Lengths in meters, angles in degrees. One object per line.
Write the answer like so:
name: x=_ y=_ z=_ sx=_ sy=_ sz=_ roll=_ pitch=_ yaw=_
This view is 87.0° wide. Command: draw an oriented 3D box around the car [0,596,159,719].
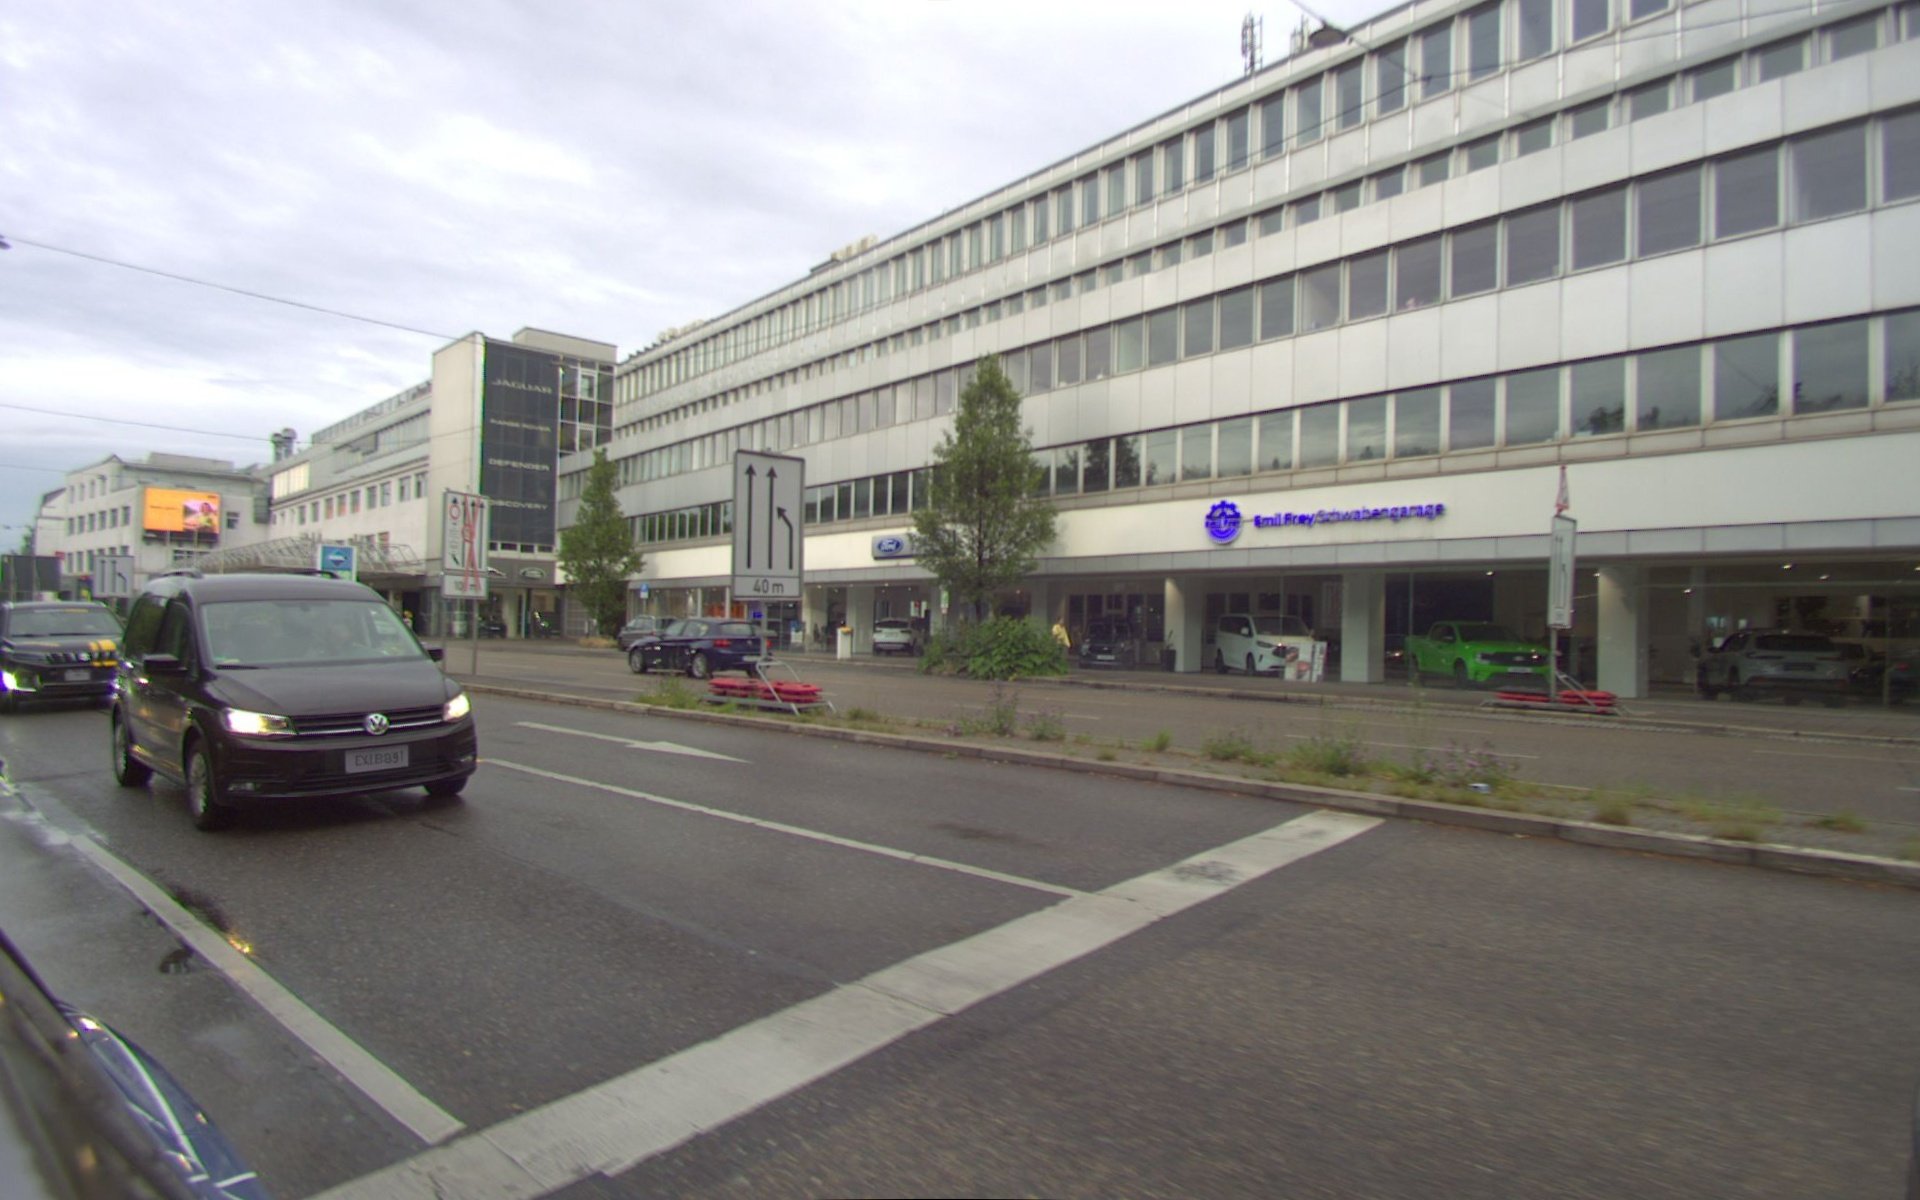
car: x=-14.005 y=0.797 z=15.632 sx=4.331 sy=1.611 sz=1.791 roll=-1 pitch=1 yaw=41

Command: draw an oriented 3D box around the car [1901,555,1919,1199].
car: x=3.245 y=0.639 z=0.160 sx=4.477 sy=1.469 sz=1.757 roll=-1 pitch=-2 yaw=43

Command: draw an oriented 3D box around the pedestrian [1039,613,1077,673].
pedestrian: x=3.062 y=1.322 z=31.511 sx=0.750 sy=1.788 sz=0.864 roll=-2 pitch=1 yaw=-43

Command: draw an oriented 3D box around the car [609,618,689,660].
car: x=-14.827 y=1.822 z=48.156 sx=1.896 sy=1.829 sz=4.168 roll=-2 pitch=1 yaw=-45

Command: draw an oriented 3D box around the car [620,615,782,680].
car: x=-6.290 y=1.101 z=24.372 sx=4.212 sy=1.430 sz=1.668 roll=-1 pitch=-2 yaw=41

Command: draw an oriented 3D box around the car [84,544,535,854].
car: x=-5.407 y=0.585 z=8.157 sx=4.428 sy=1.828 sz=1.881 roll=-1 pitch=1 yaw=41
